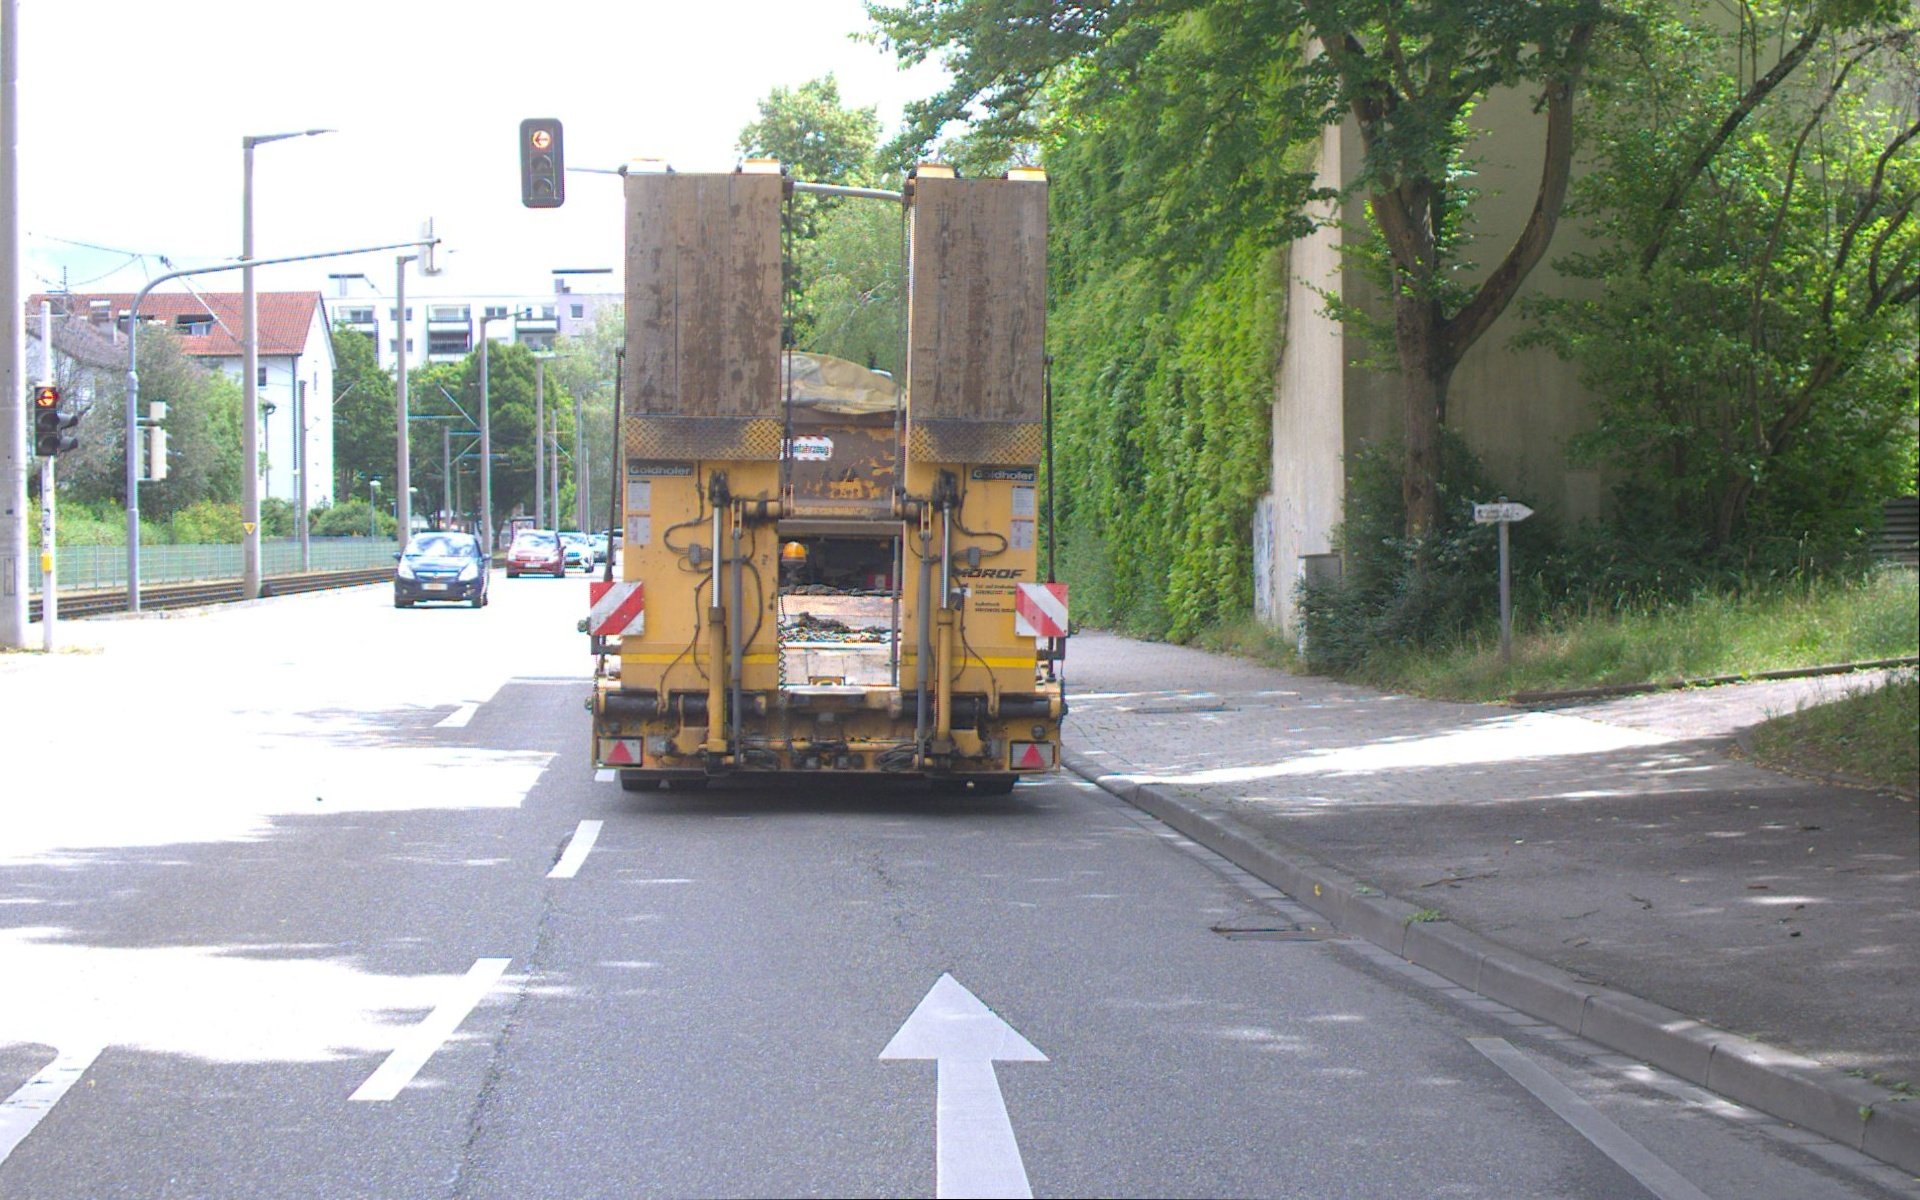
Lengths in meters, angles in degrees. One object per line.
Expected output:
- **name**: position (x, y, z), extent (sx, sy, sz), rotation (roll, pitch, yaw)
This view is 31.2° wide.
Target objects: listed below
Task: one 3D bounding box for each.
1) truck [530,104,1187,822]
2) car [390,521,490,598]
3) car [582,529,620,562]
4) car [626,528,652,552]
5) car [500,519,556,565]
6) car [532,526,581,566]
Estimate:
- **truck**: position (-1.359, -0.883, 24.831), extent (3.401, 3.719, 13.742), rotation (0, 1, -7)
- **car**: position (-10.152, -0.789, 67.309), extent (1.667, 1.448, 3.680), rotation (1, 0, -5)
- **car**: position (-16.678, -2.523, 159.905), extent (1.667, 1.448, 3.680), rotation (1, 0, -5)
- **car**: position (-20.583, -3.856, 220.547), extent (1.667, 1.448, 3.680), rotation (1, 0, -5)
- **car**: position (-14.218, -1.891, 113.326), extent (1.667, 1.448, 3.680), rotation (1, 0, -5)
- **car**: position (-15.075, -2.008, 128.517), extent (1.667, 1.448, 3.680), rotation (1, 0, -5)
